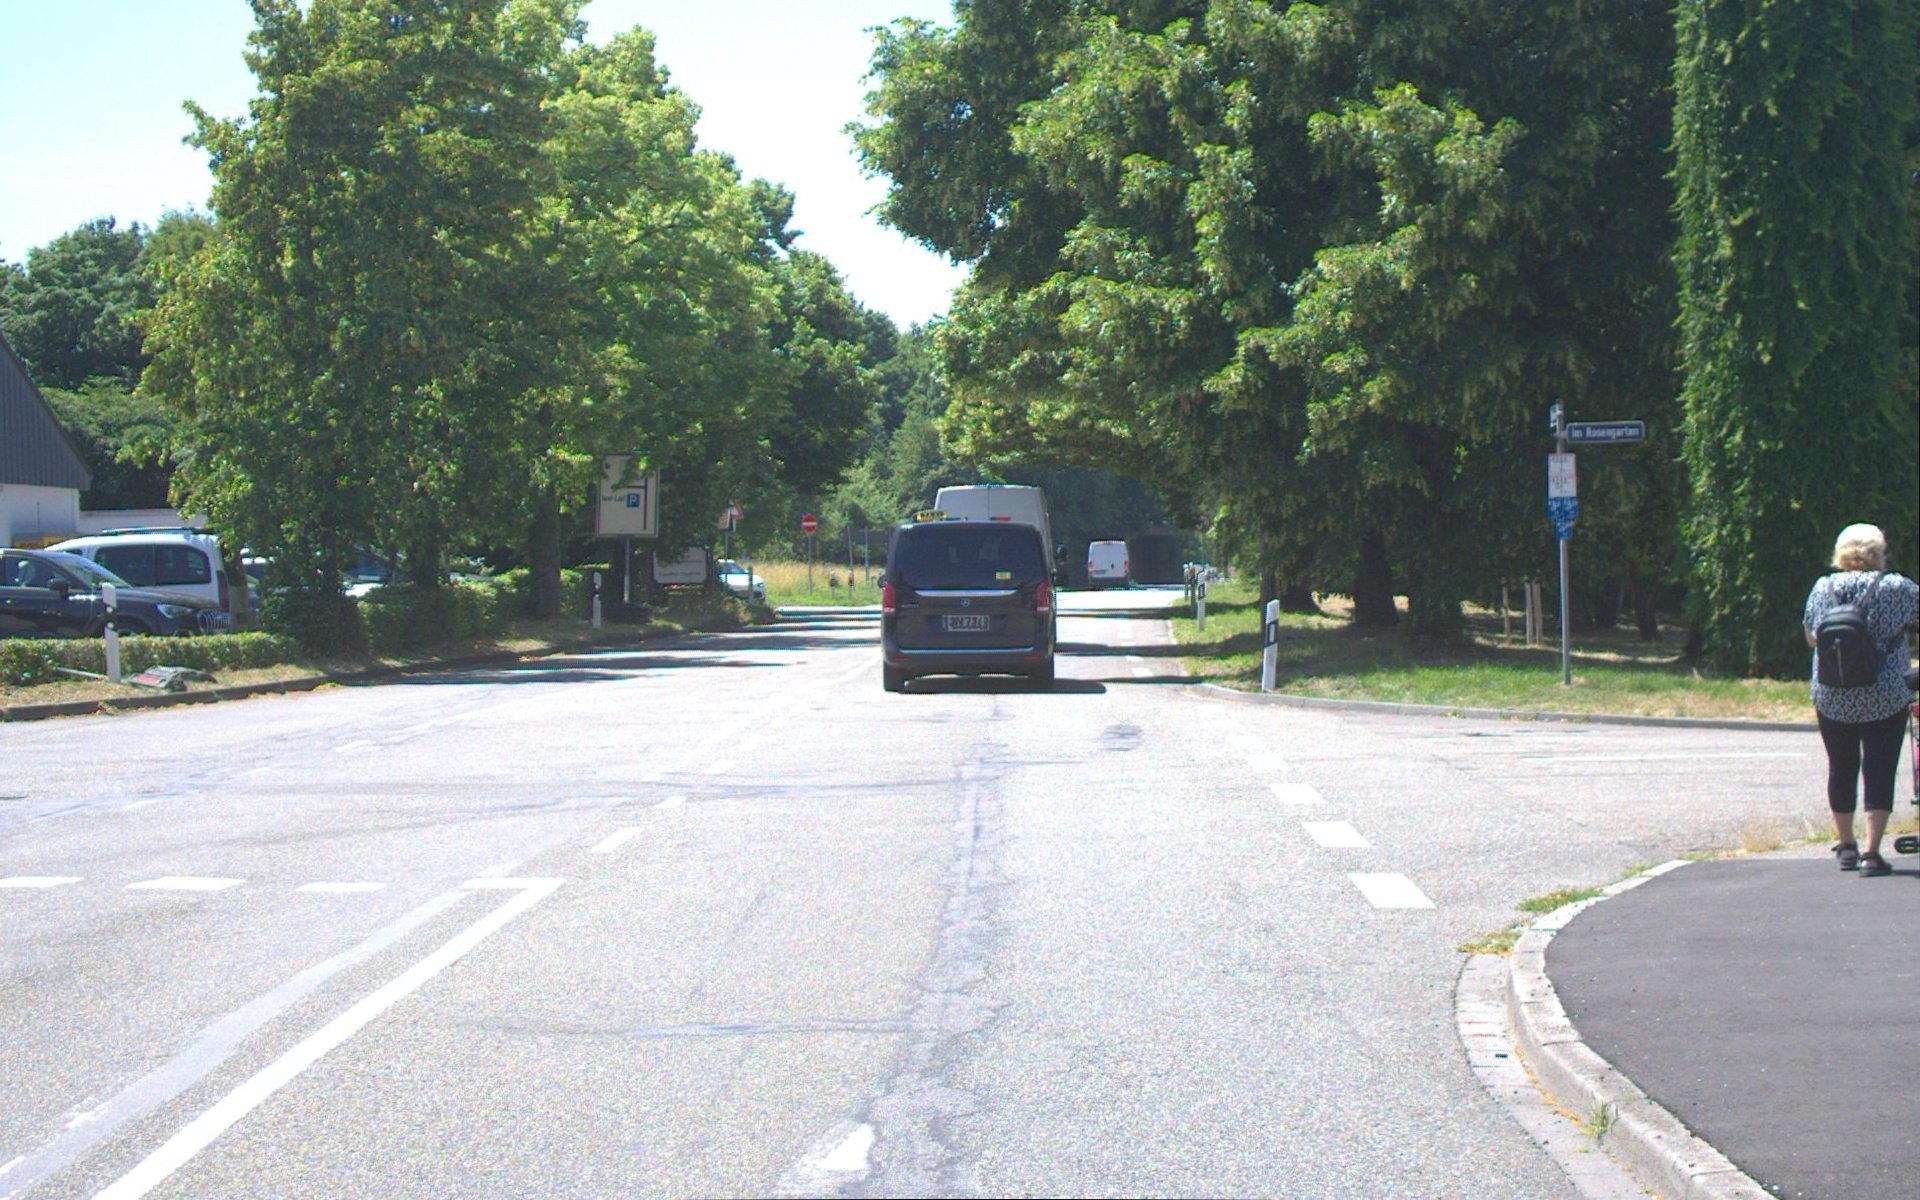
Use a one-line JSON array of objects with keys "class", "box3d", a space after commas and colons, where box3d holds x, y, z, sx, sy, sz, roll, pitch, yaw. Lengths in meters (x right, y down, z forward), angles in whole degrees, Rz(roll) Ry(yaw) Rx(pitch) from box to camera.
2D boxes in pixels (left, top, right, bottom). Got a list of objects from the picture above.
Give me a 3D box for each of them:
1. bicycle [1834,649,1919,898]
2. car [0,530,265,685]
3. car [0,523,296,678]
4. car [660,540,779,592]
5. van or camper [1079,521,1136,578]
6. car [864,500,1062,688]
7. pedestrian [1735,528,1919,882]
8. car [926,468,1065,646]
[{"class": "bicycle", "box3d": [3.814, 0.683, 14.064, 0.378, 0.909, 1.597, 0, 1, 12]}, {"class": "car", "box3d": [-10.981, 0.086, 42.125, 4.386, 1.839, 2.103, 0, 0, 8]}, {"class": "car", "box3d": [-11.017, 0.000, 44.842, 4.356, 1.973, 1.905, 0, 0, 0]}, {"class": "car", "box3d": [-7.541, -1.073, 107.480, 2.094, 1.583, 4.476, 0, 1, -27]}, {"class": "van or camper", "box3d": [7.723, -2.637, 180.614, 2.631, 2.919, 5.207, 0, 0, -2]}, {"class": "car", "box3d": [0.103, -0.092, 38.737, 1.994, 1.946, 5.004, 1, 1, 2]}, {"class": "pedestrian", "box3d": [3.618, 0.414, 14.218, 0.769, 1.416, 0.867, 0, 1, 11]}, {"class": "car", "box3d": [0.520, -0.688, 55.048, 2.078, 2.693, 4.666, 1, 1, -1]}]
